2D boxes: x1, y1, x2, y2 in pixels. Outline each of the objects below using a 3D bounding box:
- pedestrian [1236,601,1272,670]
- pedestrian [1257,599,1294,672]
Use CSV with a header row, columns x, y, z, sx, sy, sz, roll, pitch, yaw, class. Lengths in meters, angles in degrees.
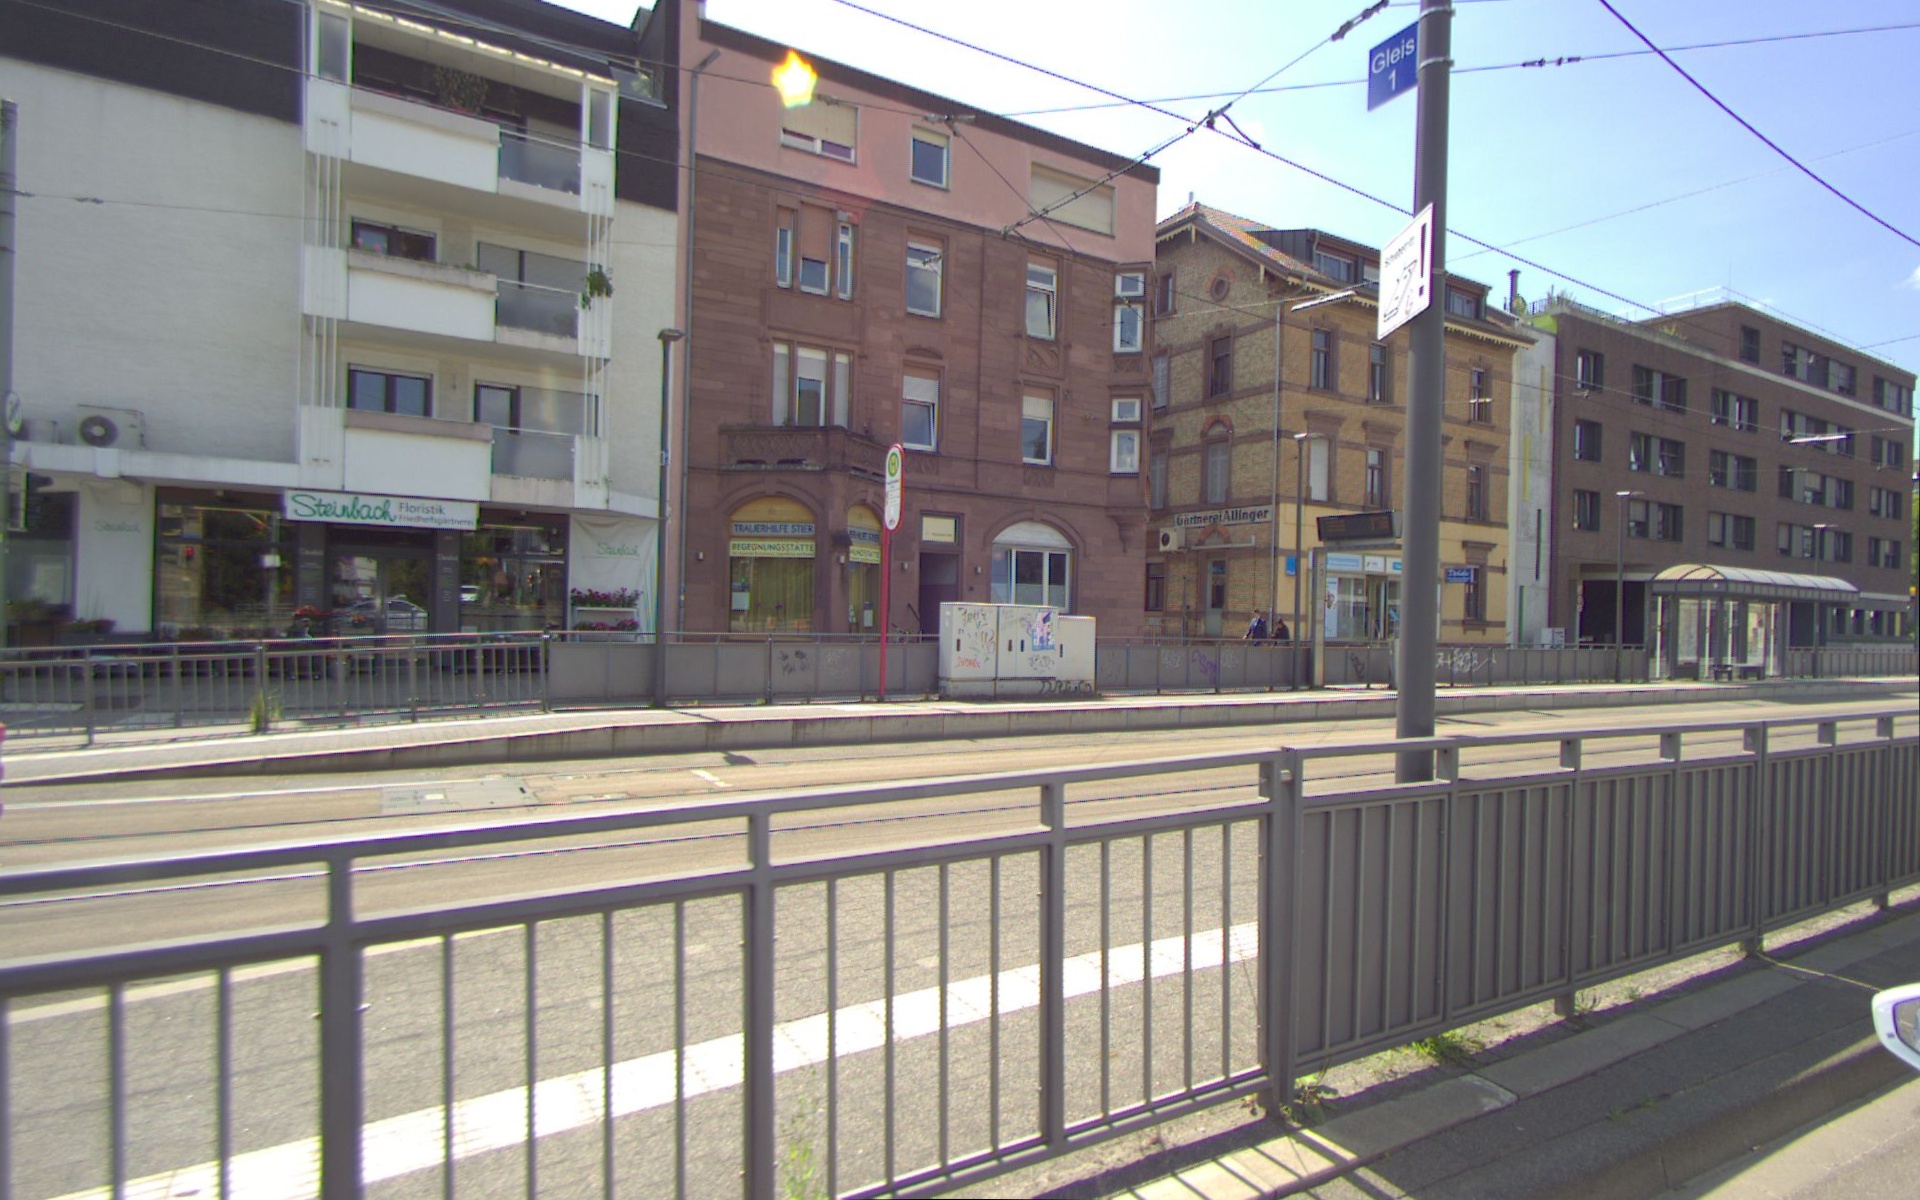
x,y,z,sx,sy,sz,roll,pitch,yaw,class
8.745,1.055,29.912,0.802,2.040,0.614,2,-1,-33,pedestrian
9.116,1.019,29.023,0.677,2.040,0.673,3,0,-33,pedestrian
